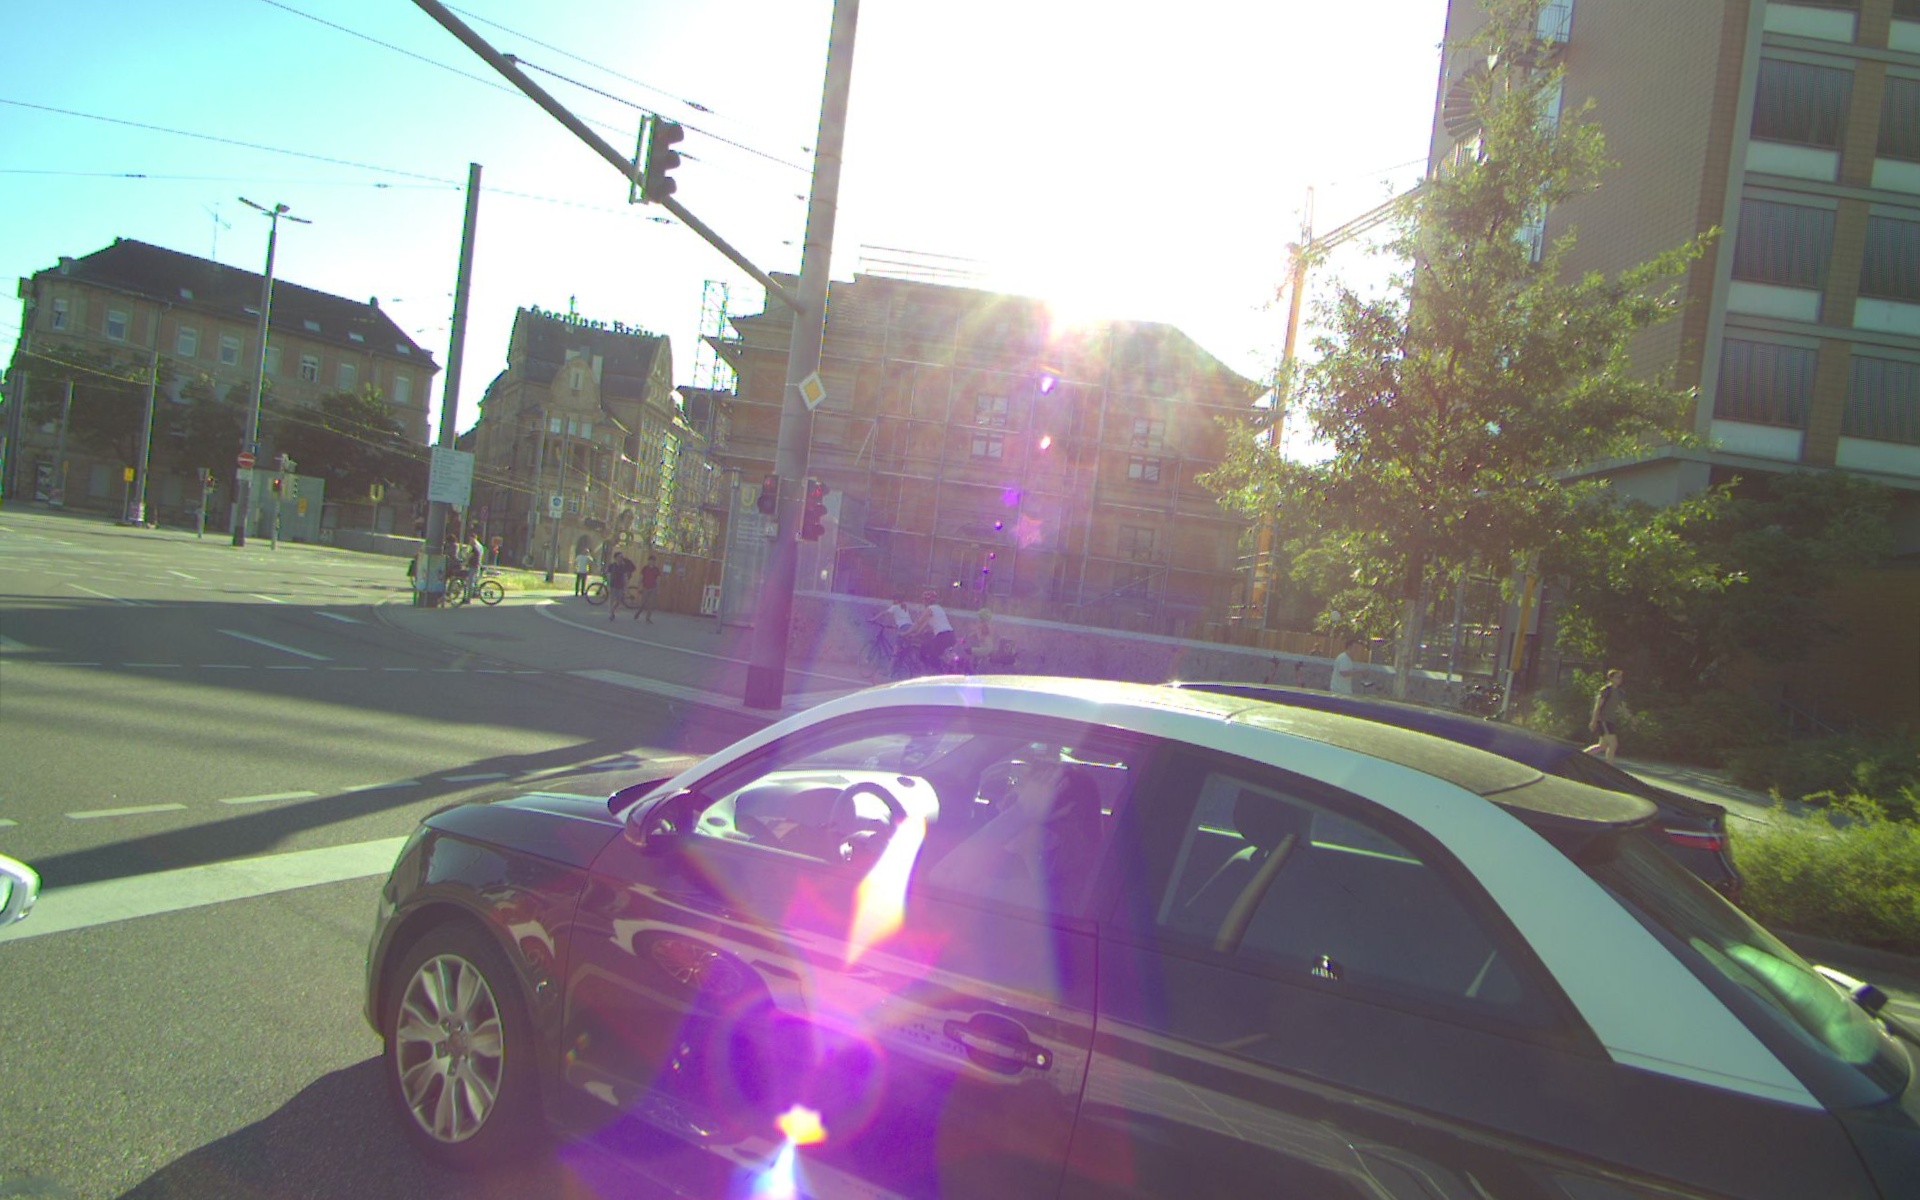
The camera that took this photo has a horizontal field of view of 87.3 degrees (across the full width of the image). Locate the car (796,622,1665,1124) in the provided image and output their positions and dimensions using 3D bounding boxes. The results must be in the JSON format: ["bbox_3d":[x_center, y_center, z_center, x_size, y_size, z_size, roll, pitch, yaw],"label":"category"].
[{"bbox_3d":[1.228,1.093,5.379,3.934,1.420,1.627,6,-2,32],"label":"car"}]

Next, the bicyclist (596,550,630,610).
[{"bbox_3d":[-11.125,-0.637,32.278,0.785,1.800,0.520,8,-1,-23],"label":"bicyclist"}]

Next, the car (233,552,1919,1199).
[{"bbox_3d":[-0.031,0.821,2.702,3.934,1.420,1.627,6,-2,32],"label":"car"}]

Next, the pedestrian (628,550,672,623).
[{"bbox_3d":[-8.221,-0.345,26.676,0.672,1.828,0.672,7,-1,11],"label":"pedestrian"}]

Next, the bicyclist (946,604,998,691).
[{"bbox_3d":[0.187,0.778,16.654,0.661,1.330,0.617,7,-1,-3],"label":"bicyclist"}]

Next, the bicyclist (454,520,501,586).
[{"bbox_3d":[-12.819,-1.237,26.723,0.936,1.575,0.705,8,-1,-29],"label":"bicyclist"}]

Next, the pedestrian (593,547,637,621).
[{"bbox_3d":[-8.920,-0.402,26.014,0.672,1.830,0.672,7,2,11],"label":"pedestrian"}]

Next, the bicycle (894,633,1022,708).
[{"bbox_3d":[-0.040,1.158,16.669,1.997,0.976,0.660,6,2,-1],"label":"bicycle"}]

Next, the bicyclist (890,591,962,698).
[{"bbox_3d":[-0.531,0.692,15.840,0.780,1.573,0.667,7,2,22],"label":"bicyclist"}]

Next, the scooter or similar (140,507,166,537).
[{"bbox_3d":[-42.111,-4.072,52.466,0.784,1.392,1.885,8,-2,-44],"label":"scooter or similar"}]

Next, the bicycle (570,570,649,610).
[{"bbox_3d":[-11.218,-0.304,32.237,2.289,1.063,0.532,5,2,-25],"label":"bicycle"}]

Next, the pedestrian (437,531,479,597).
[{"bbox_3d":[-16.676,-1.187,33.417,0.748,2.037,0.733,7,-1,25],"label":"pedestrian"}]

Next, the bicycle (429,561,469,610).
[{"bbox_3d":[-12.742,-0.382,25.059,0.693,1.061,2.303,9,-1,-29],"label":"bicycle"}]

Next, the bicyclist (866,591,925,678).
[{"bbox_3d":[-1.172,0.634,18.355,0.663,1.471,0.616,6,-1,37],"label":"bicyclist"}]

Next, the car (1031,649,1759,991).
[{"bbox_3d":[2.971,1.389,7.580,4.435,1.420,1.727,6,-2,30],"label":"car"}]

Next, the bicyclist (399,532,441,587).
[{"bbox_3d":[-16.790,-1.245,31.263,0.930,1.575,0.516,7,-1,24],"label":"bicyclist"}]

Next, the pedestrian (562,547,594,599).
[{"bbox_3d":[-14.233,-1.005,37.480,0.678,1.835,0.649,7,-1,25],"label":"pedestrian"}]

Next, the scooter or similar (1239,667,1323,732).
[{"bbox_3d":[5.966,1.849,18.723,1.348,1.007,0.342,7,-1,25],"label":"scooter or similar"}]

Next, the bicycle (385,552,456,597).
[{"bbox_3d":[-16.761,-0.793,31.225,2.278,1.061,0.536,8,-1,24],"label":"bicycle"}]

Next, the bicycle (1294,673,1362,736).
[{"bbox_3d":[6.886,1.951,18.876,0.352,1.015,1.149,8,-2,-29],"label":"bicycle"}]

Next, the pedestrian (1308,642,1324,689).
[{"bbox_3d":[13.444,2.484,38.026,0.369,1.752,0.444,7,-1,17],"label":"pedestrian"}]

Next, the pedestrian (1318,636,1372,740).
[{"bbox_3d":[6.526,1.473,17.039,0.592,1.662,0.677,7,3,29],"label":"pedestrian"}]

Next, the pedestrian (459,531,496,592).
[{"bbox_3d":[-16.341,-1.289,34.075,0.678,1.945,0.649,7,-1,25],"label":"pedestrian"}]

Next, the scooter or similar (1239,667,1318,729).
[{"bbox_3d":[6.182,1.896,19.568,1.346,1.007,0.343,7,-1,13],"label":"scooter or similar"}]

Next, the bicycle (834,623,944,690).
[{"bbox_3d":[-1.324,1.021,18.423,2.004,0.976,0.657,6,2,36],"label":"bicycle"}]

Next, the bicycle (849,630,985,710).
[{"bbox_3d":[-0.686,1.082,15.932,1.998,0.976,0.659,7,3,24],"label":"bicycle"}]

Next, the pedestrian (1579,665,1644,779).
[{"bbox_3d":[11.500,2.147,17.755,0.461,1.908,0.687,8,-1,-41],"label":"pedestrian"}]

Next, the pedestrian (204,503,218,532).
[{"bbox_3d":[-54.867,-6.073,73.659,0.600,2.039,0.638,6,1,-43],"label":"pedestrian"}]

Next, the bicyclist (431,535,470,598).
[{"bbox_3d":[-12.725,-0.834,25.119,0.702,1.456,0.940,8,-1,-29],"label":"bicyclist"}]

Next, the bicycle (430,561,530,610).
[{"bbox_3d":[-12.766,-0.377,26.802,2.293,1.062,0.696,6,-1,-28],"label":"bicycle"}]
